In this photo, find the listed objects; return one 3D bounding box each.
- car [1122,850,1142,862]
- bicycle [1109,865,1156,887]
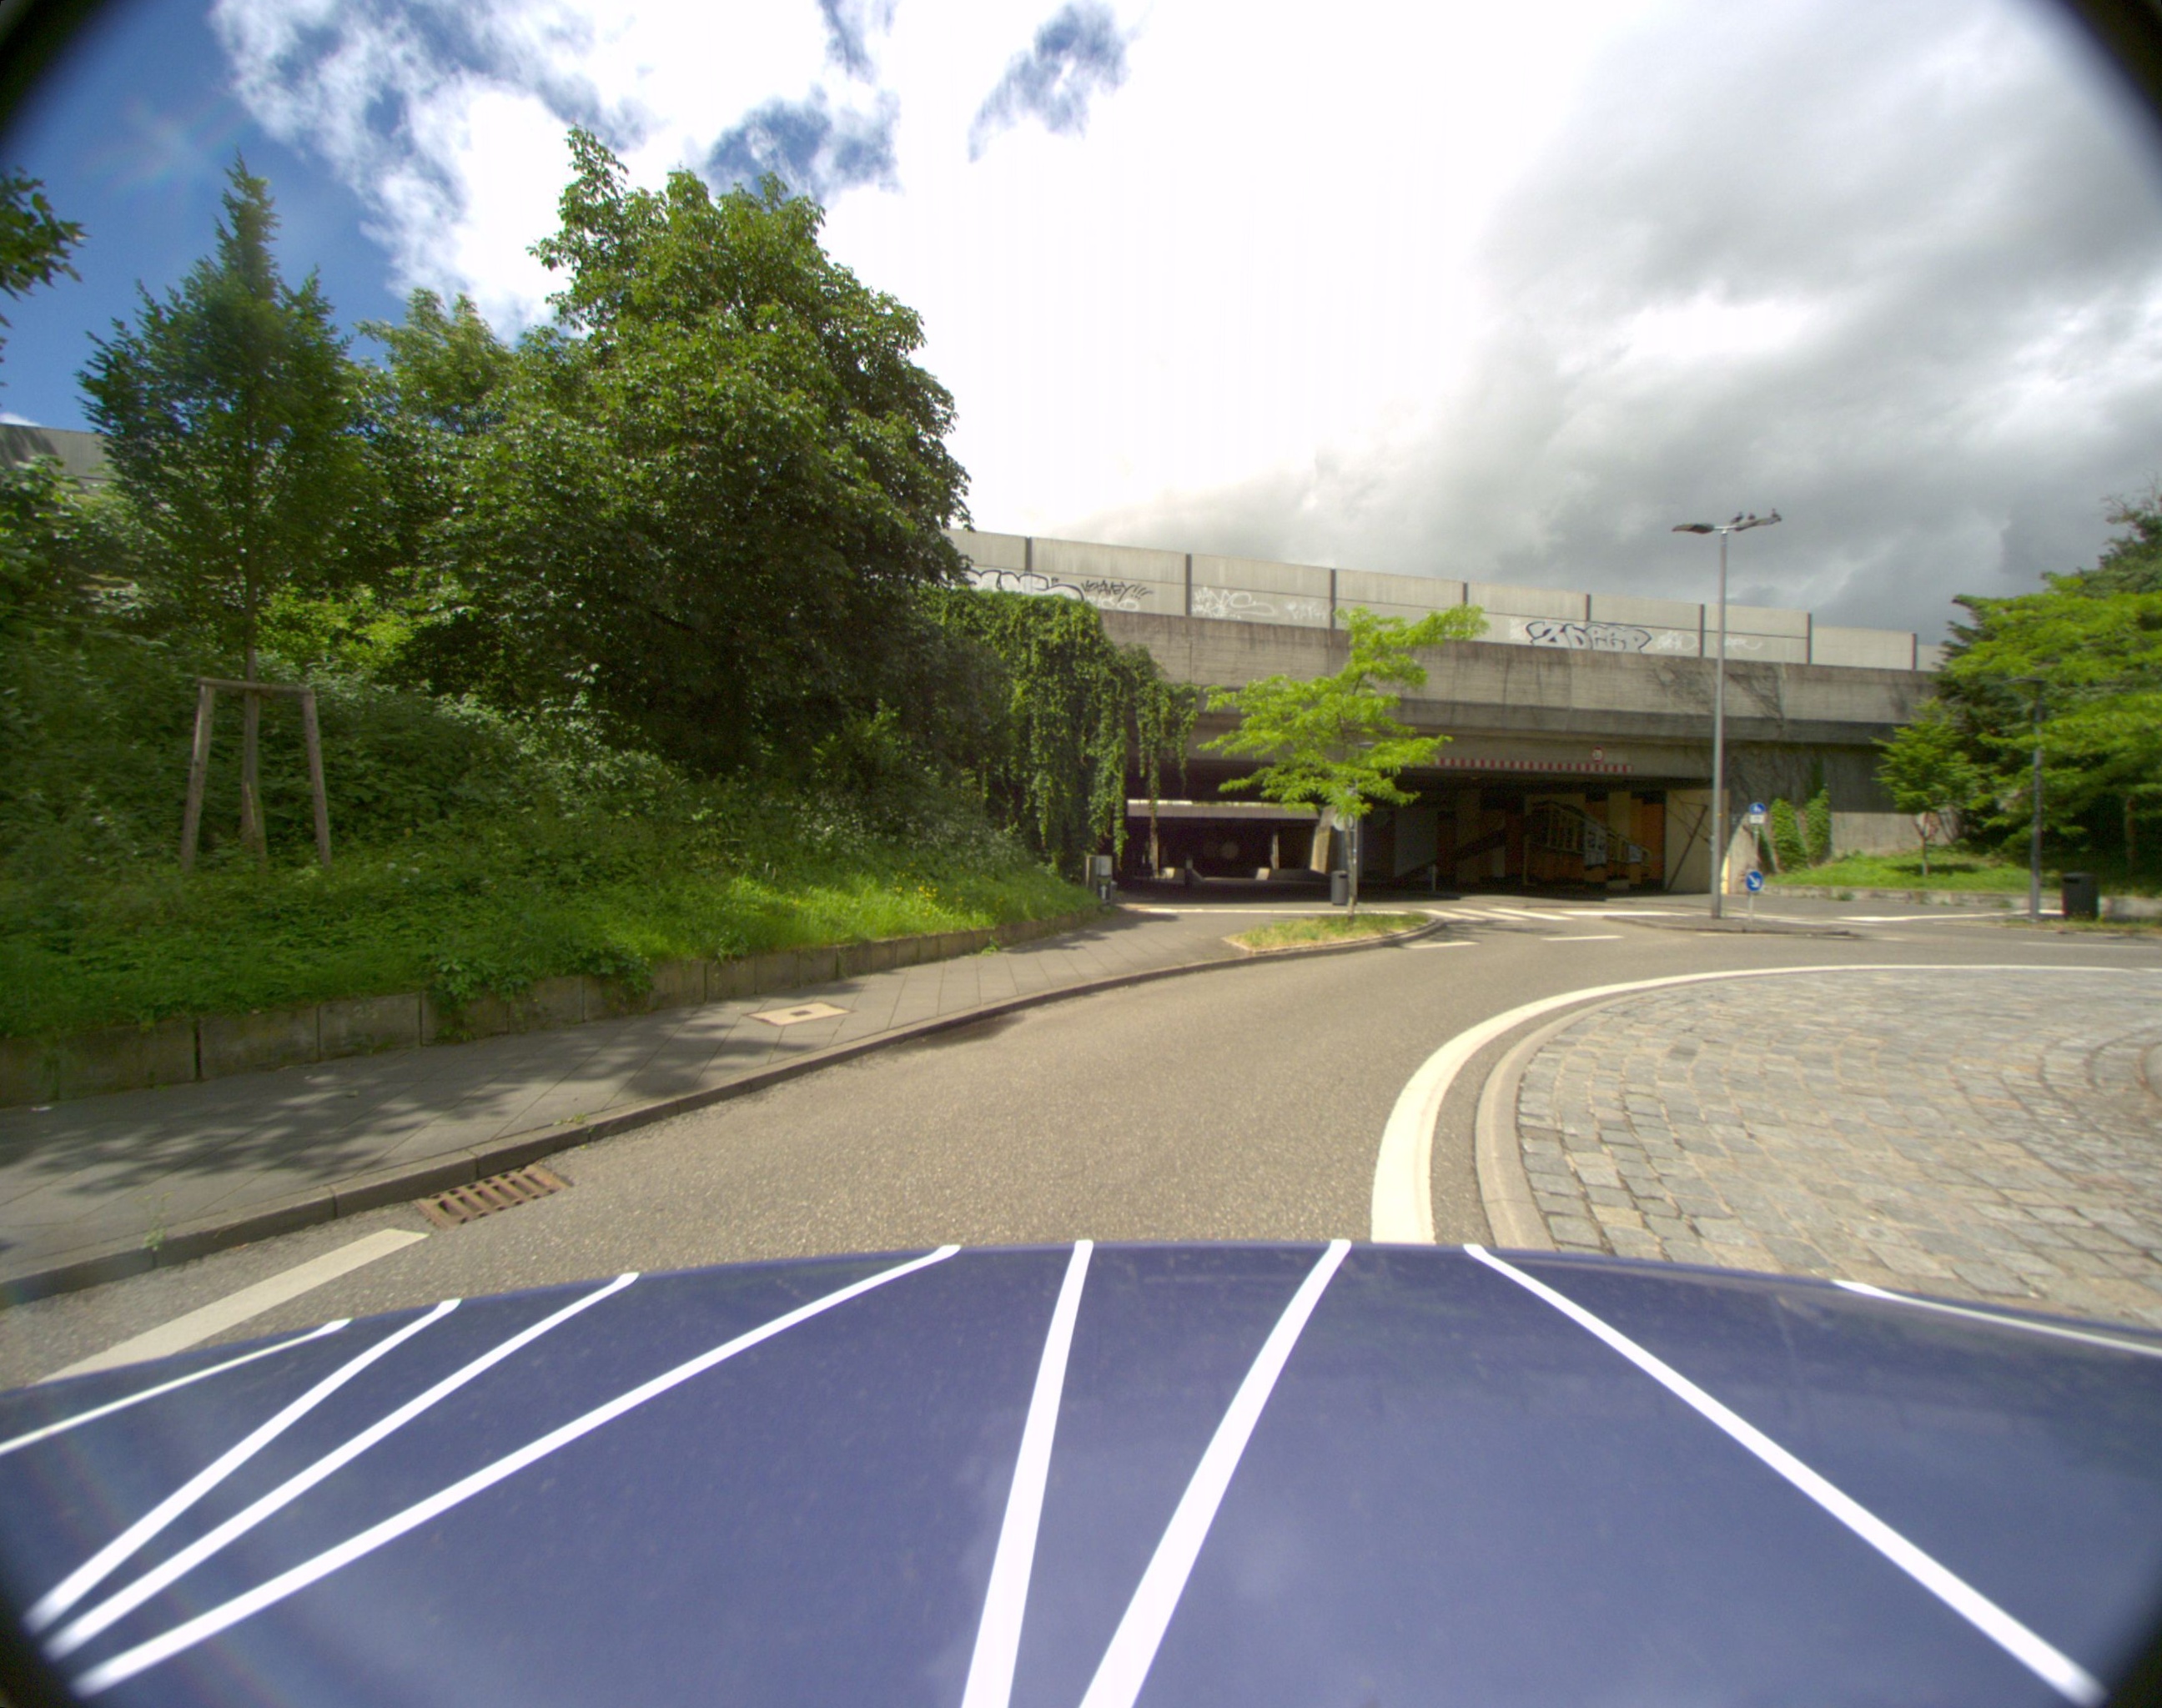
[{"bbox_3d":[6.387,0.242,96.093,1.677,1.439,3.849,1,0,-10],"label":"car"},{"bbox_3d":[2.208,0.934,32.496,1.952,0.899,0.506,1,1,-10],"label":"bicycle"}]
